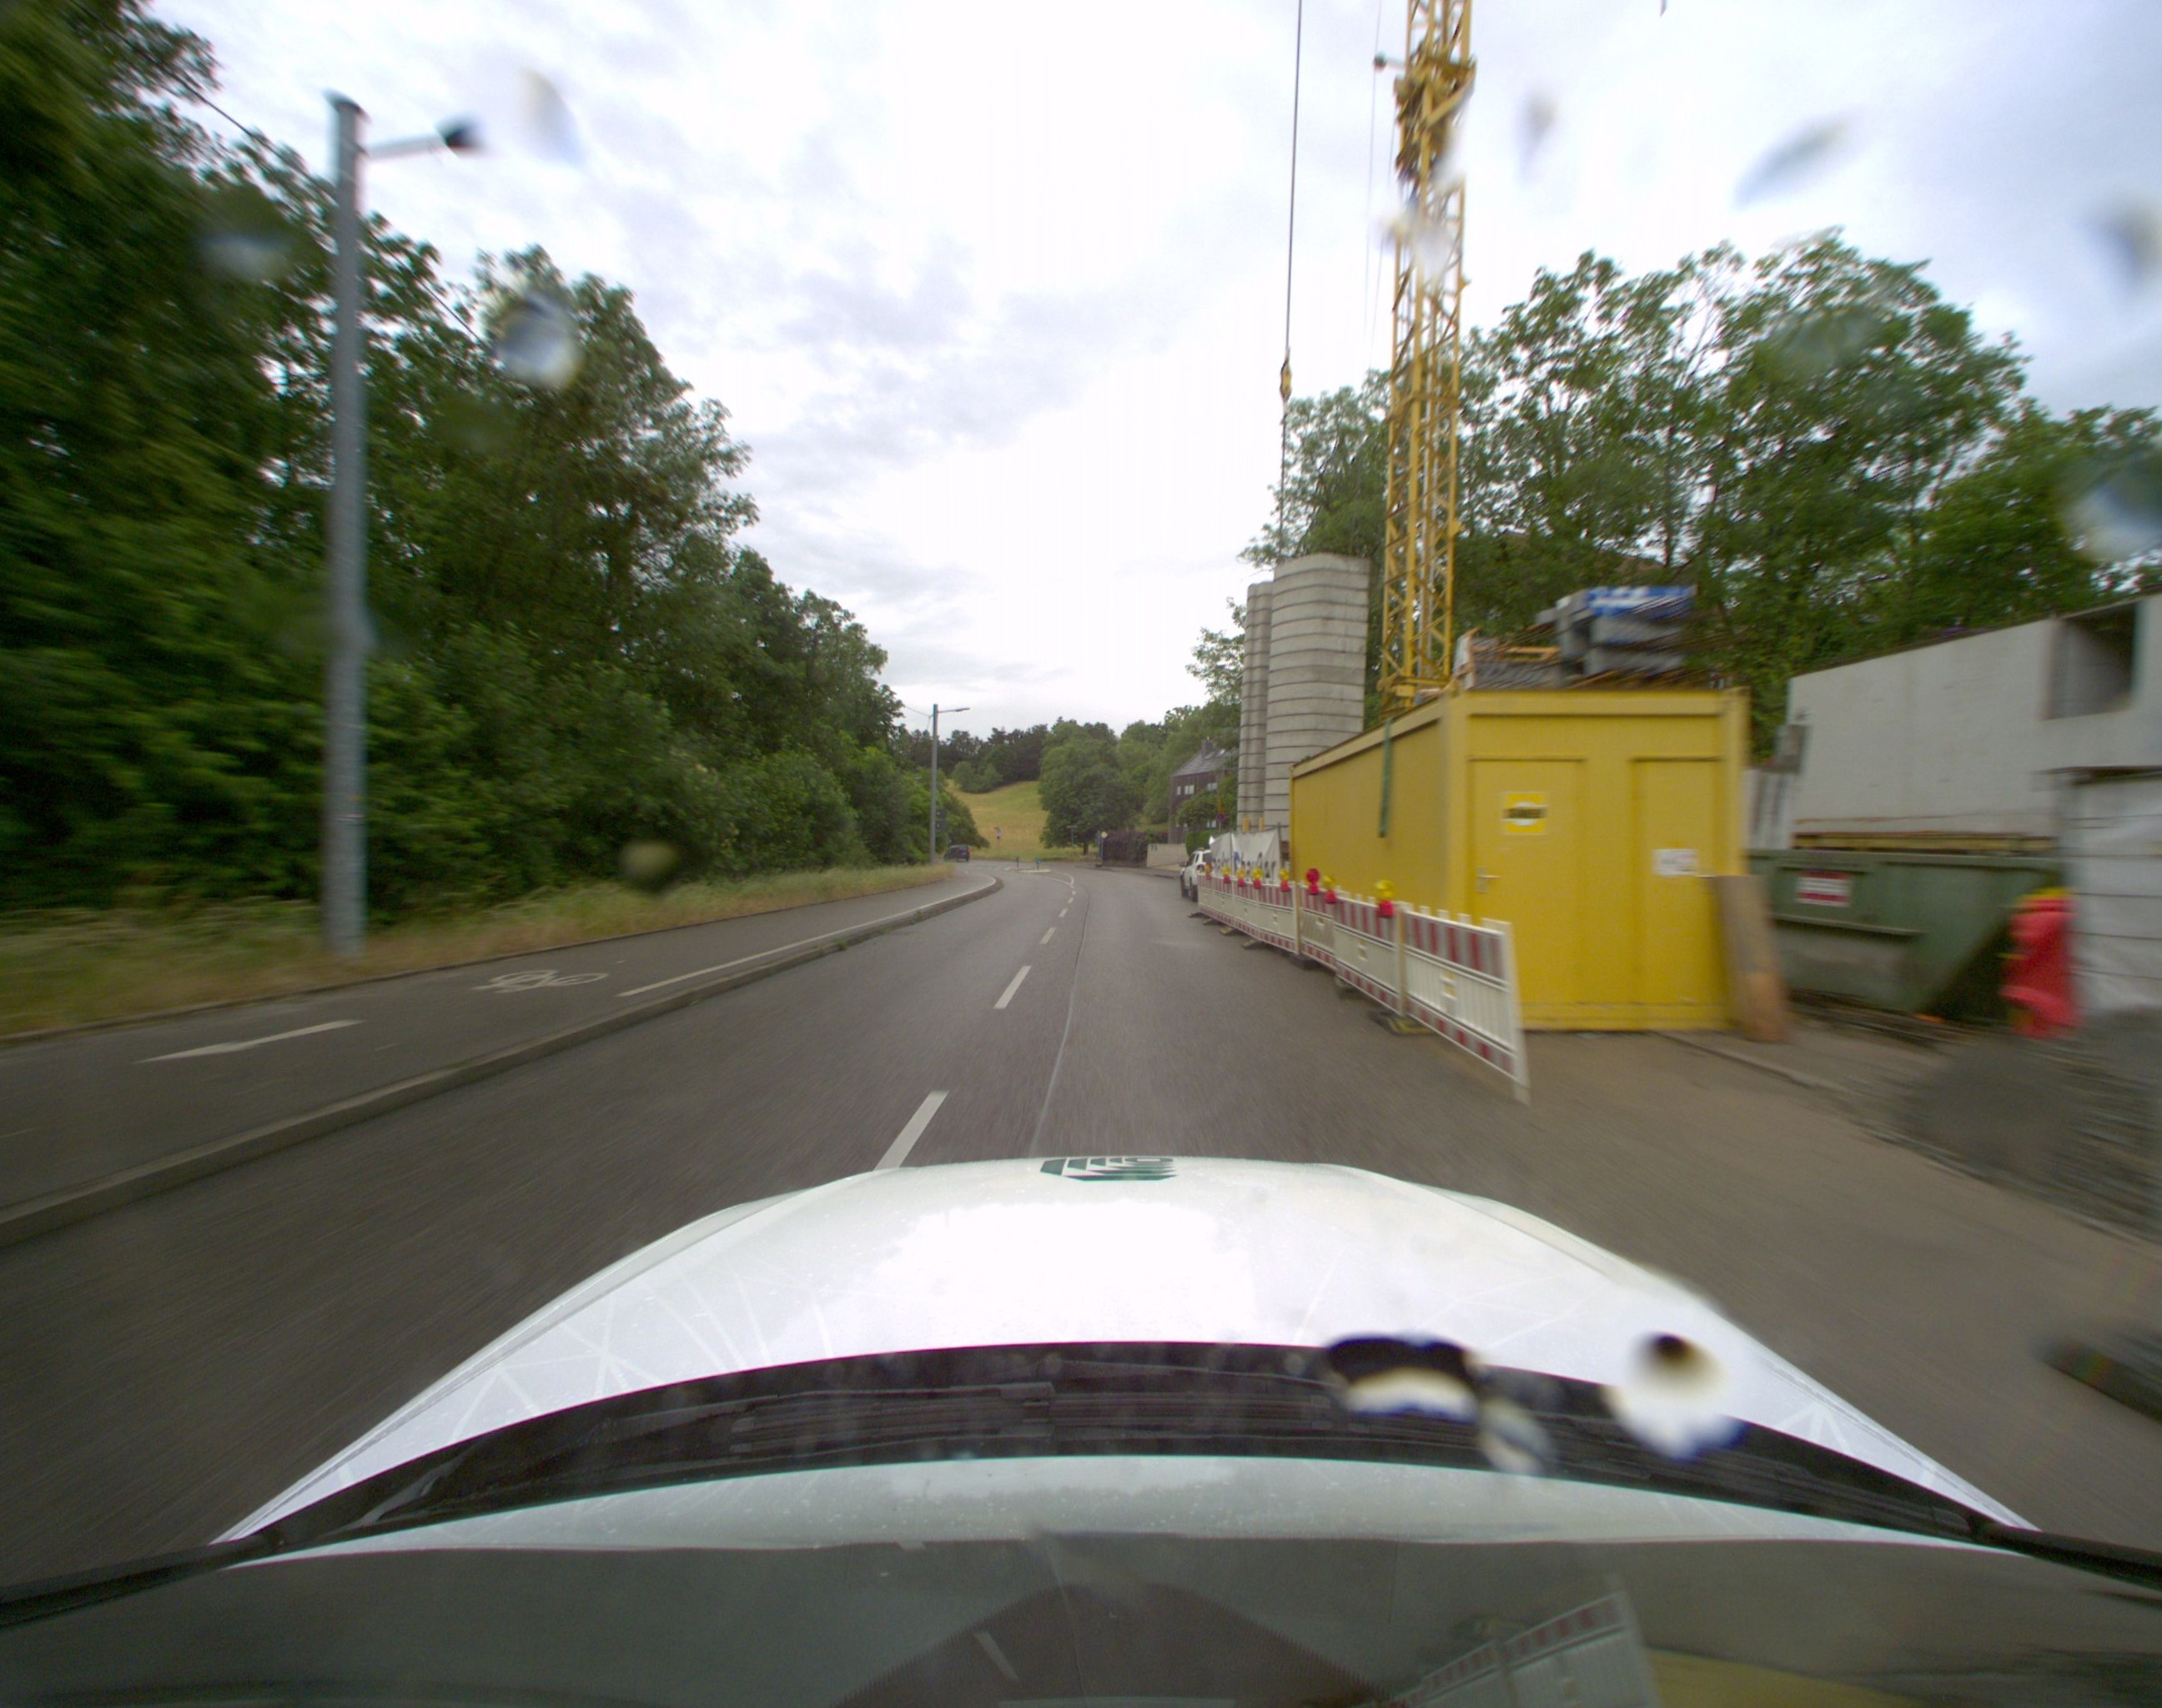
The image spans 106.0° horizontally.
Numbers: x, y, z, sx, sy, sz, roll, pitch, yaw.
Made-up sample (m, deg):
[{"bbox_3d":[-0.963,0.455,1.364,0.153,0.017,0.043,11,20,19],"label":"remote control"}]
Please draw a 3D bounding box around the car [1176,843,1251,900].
[{"bbox_3d":[4.314,0.517,27.131,1.739,1.706,4.501,-1,0,0],"label":"car"}]

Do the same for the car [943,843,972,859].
[{"bbox_3d":[-14.145,-0.304,92.982,1.944,1.751,3.961,1,0,-31],"label":"car"}]
